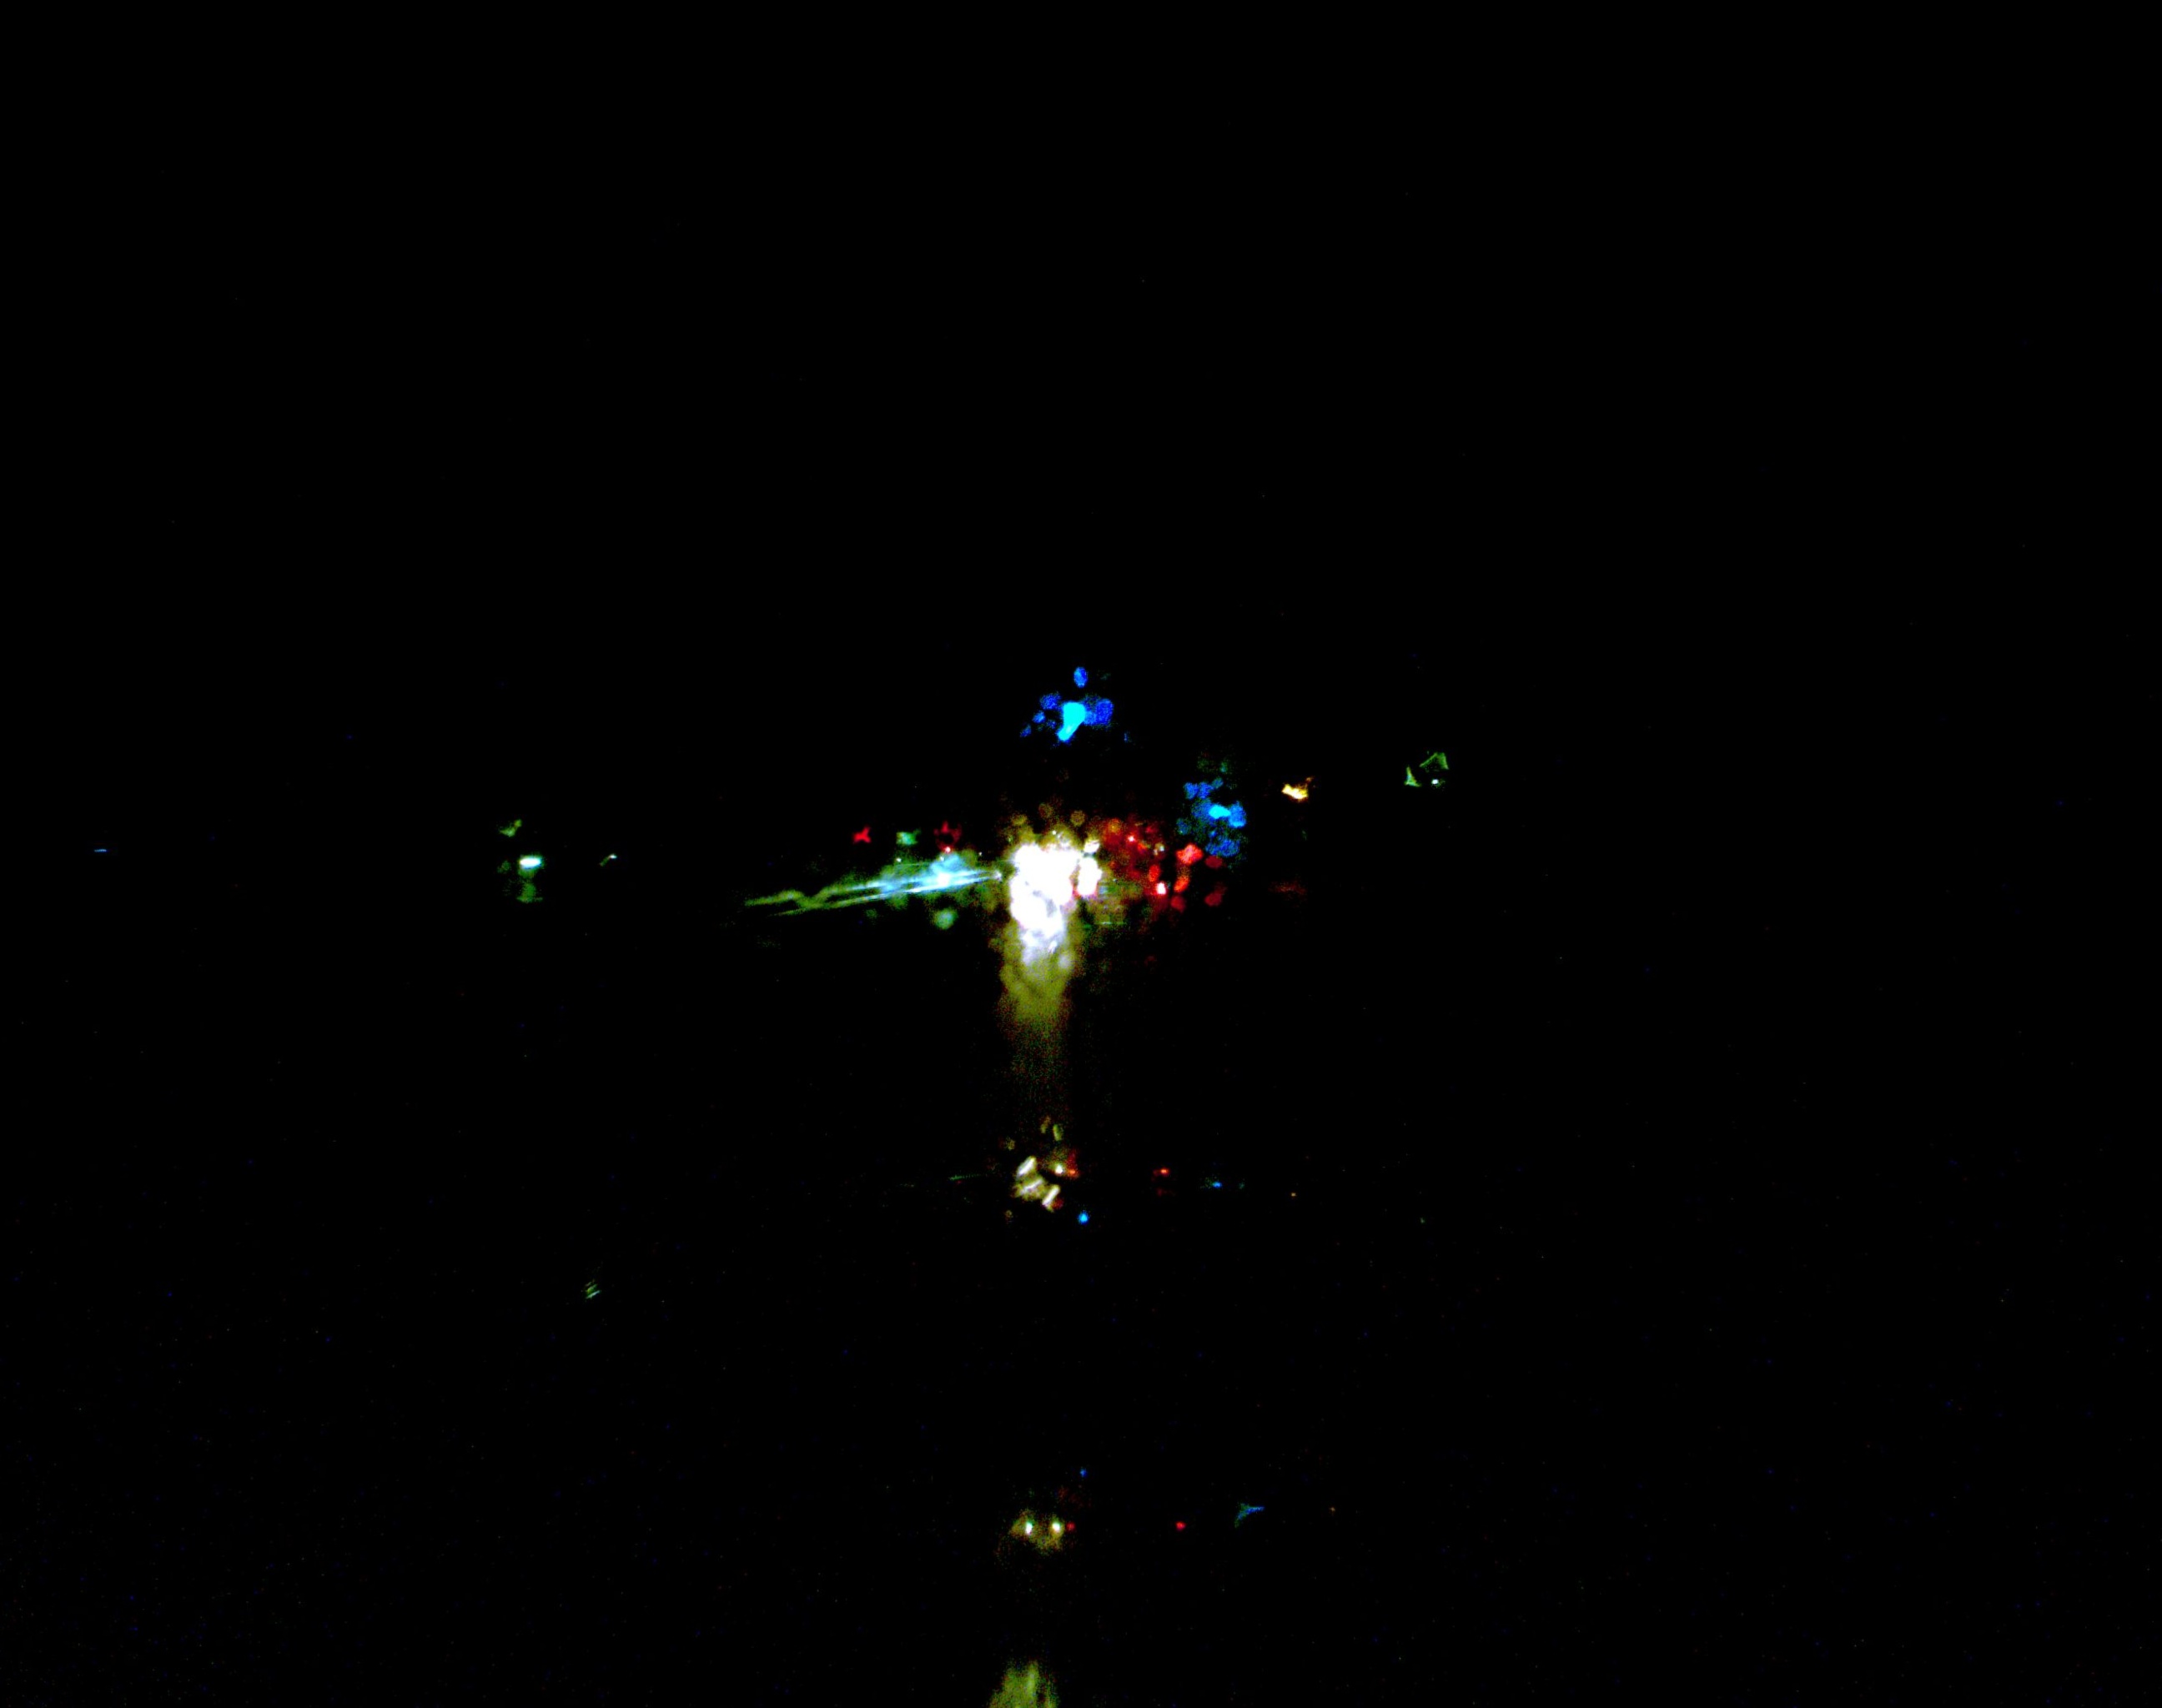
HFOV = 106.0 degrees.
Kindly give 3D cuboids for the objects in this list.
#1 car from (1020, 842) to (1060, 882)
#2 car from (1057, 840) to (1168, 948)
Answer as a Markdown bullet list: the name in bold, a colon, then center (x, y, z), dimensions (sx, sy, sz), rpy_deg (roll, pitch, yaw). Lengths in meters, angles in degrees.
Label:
- **car**: center (-2.231, 0.488, 44.115), dimensions (1.989, 2.014, 3.995), rpy_deg (-2, -2, -3)
- **car**: center (0.516, 0.642, 15.100), dimensions (1.769, 1.712, 4.000), rpy_deg (-1, 0, 0)
